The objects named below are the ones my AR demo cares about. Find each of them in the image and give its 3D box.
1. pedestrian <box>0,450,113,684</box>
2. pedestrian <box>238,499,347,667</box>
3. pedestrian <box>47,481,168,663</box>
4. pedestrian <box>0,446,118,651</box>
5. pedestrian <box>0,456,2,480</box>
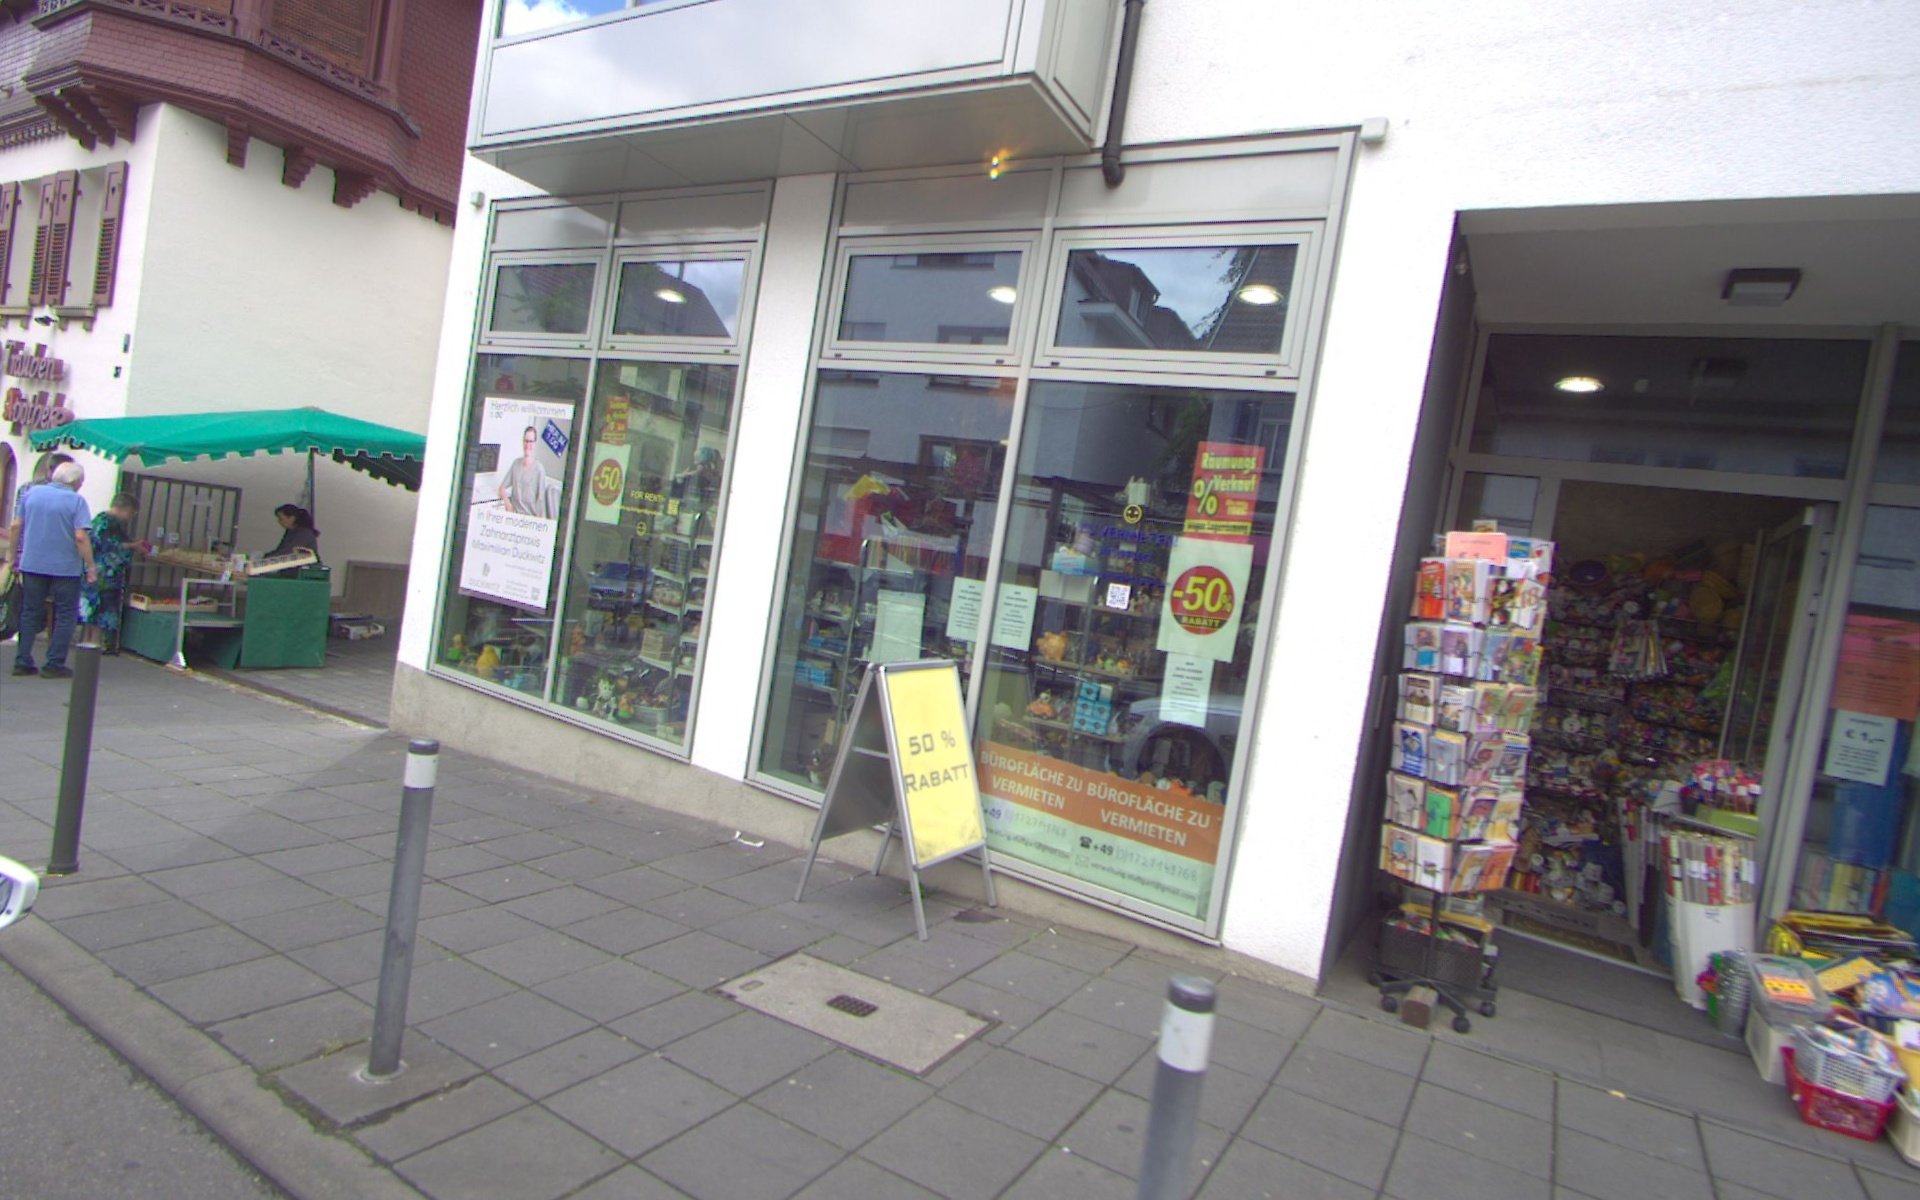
[{"bbox_3d":[-7.500,-0.265,8.208,0.696,1.789,0.620,6,1,-33],"label":"pedestrian"},{"bbox_3d":[-6.902,-0.168,10.404,0.692,1.633,0.623,7,1,36],"label":"pedestrian"},{"bbox_3d":[-8.111,-0.261,9.572,0.692,1.633,0.623,7,1,36],"label":"pedestrian"},{"bbox_3d":[-9.004,-0.502,9.884,0.769,1.881,0.700,6,1,-16],"label":"pedestrian"},{"bbox_3d":[-10.645,-0.660,10.457,0.666,1.824,0.785,7,1,37],"label":"pedestrian"}]
